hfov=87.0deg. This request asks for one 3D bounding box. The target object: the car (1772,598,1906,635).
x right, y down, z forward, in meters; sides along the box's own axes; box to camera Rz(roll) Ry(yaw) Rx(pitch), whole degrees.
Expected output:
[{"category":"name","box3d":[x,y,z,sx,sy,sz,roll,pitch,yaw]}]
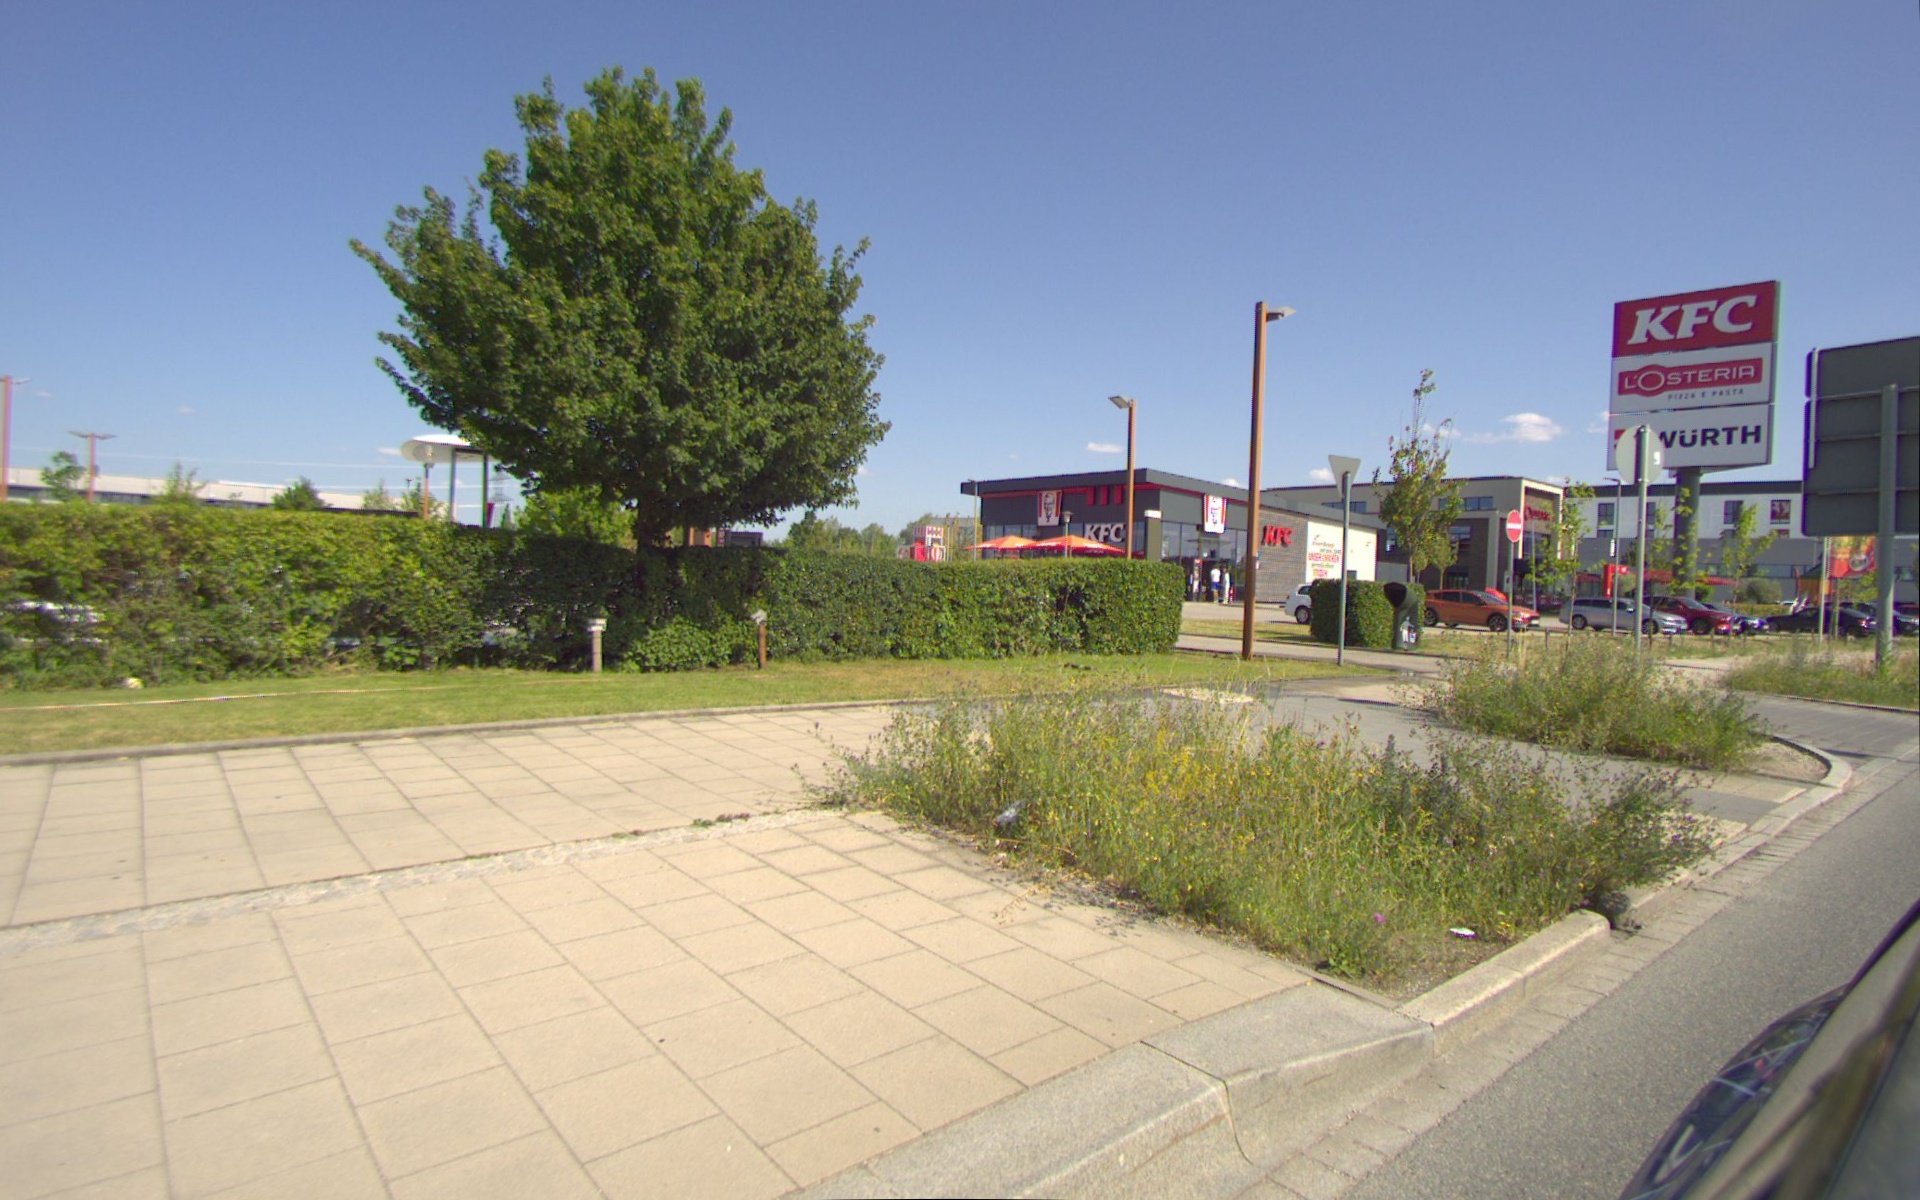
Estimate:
[{"category":"car","box3d":[41.538,0.765,47.978,1.753,1.467,4.431,2,2,-22]}]

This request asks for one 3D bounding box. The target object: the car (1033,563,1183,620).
[{"category":"car","box3d":[4.196,-0.266,29.190,4.094,1.480,1.701,2,1,4]}]

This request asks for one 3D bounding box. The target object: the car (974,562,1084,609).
[{"category":"car","box3d":[2.569,-0.581,38.461,1.759,1.655,4.165,1,2,-40]}]

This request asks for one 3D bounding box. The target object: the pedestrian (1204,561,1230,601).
[{"category":"pedestrian","box3d":[13.351,-1.012,52.675,0.874,2.039,0.916,1,1,-36]}]

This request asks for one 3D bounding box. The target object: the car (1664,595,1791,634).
[{"category":"car","box3d":[34.609,0.625,45.722,1.755,1.467,4.173,2,2,-31]}]

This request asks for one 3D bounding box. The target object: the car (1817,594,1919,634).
[{"category":"car","box3d":[45.677,0.686,50.224,1.753,1.756,4.431,2,2,-21]}]

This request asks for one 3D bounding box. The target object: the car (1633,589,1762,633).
[{"category":"car","box3d":[32.345,0.457,44.543,1.830,1.686,4.176,2,2,-25]}]

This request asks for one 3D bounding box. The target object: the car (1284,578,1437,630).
[{"category":"car","box3d":[13.392,0.106,34.112,1.832,1.508,4.545,2,2,-32]}]

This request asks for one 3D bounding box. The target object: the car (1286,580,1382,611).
[{"category":"car","box3d":[20.188,-0.265,54.827,1.835,1.449,4.567,1,2,-39]}]

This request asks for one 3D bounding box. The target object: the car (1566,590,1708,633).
[{"category":"car","box3d":[28.267,0.439,42.397,1.831,1.508,4.578,2,2,-28]}]

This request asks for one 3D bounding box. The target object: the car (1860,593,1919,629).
[{"category":"car","box3d":[51.074,0.652,53.350,1.899,1.756,5.010,2,2,-23]}]

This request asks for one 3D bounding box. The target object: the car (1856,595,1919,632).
[{"category":"car","box3d":[48.541,0.747,51.174,1.753,1.756,4.431,2,2,-21]}]

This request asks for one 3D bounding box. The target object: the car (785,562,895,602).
[{"category":"car","box3d":[-4.791,-0.733,40.695,4.094,1.469,1.790,2,1,4]}]

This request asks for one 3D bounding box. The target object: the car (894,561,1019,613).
[{"category":"car","box3d":[-0.074,-0.448,34.343,4.094,1.599,1.790,2,1,4]}]

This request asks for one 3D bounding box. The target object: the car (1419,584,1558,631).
[{"category":"car","box3d":[19.699,0.258,37.874,1.832,1.508,4.222,2,2,-32]}]

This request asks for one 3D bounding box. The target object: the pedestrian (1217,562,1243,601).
[{"category":"pedestrian","box3d":[14.268,-1.000,53.518,0.874,2.039,0.916,1,1,-36]}]
